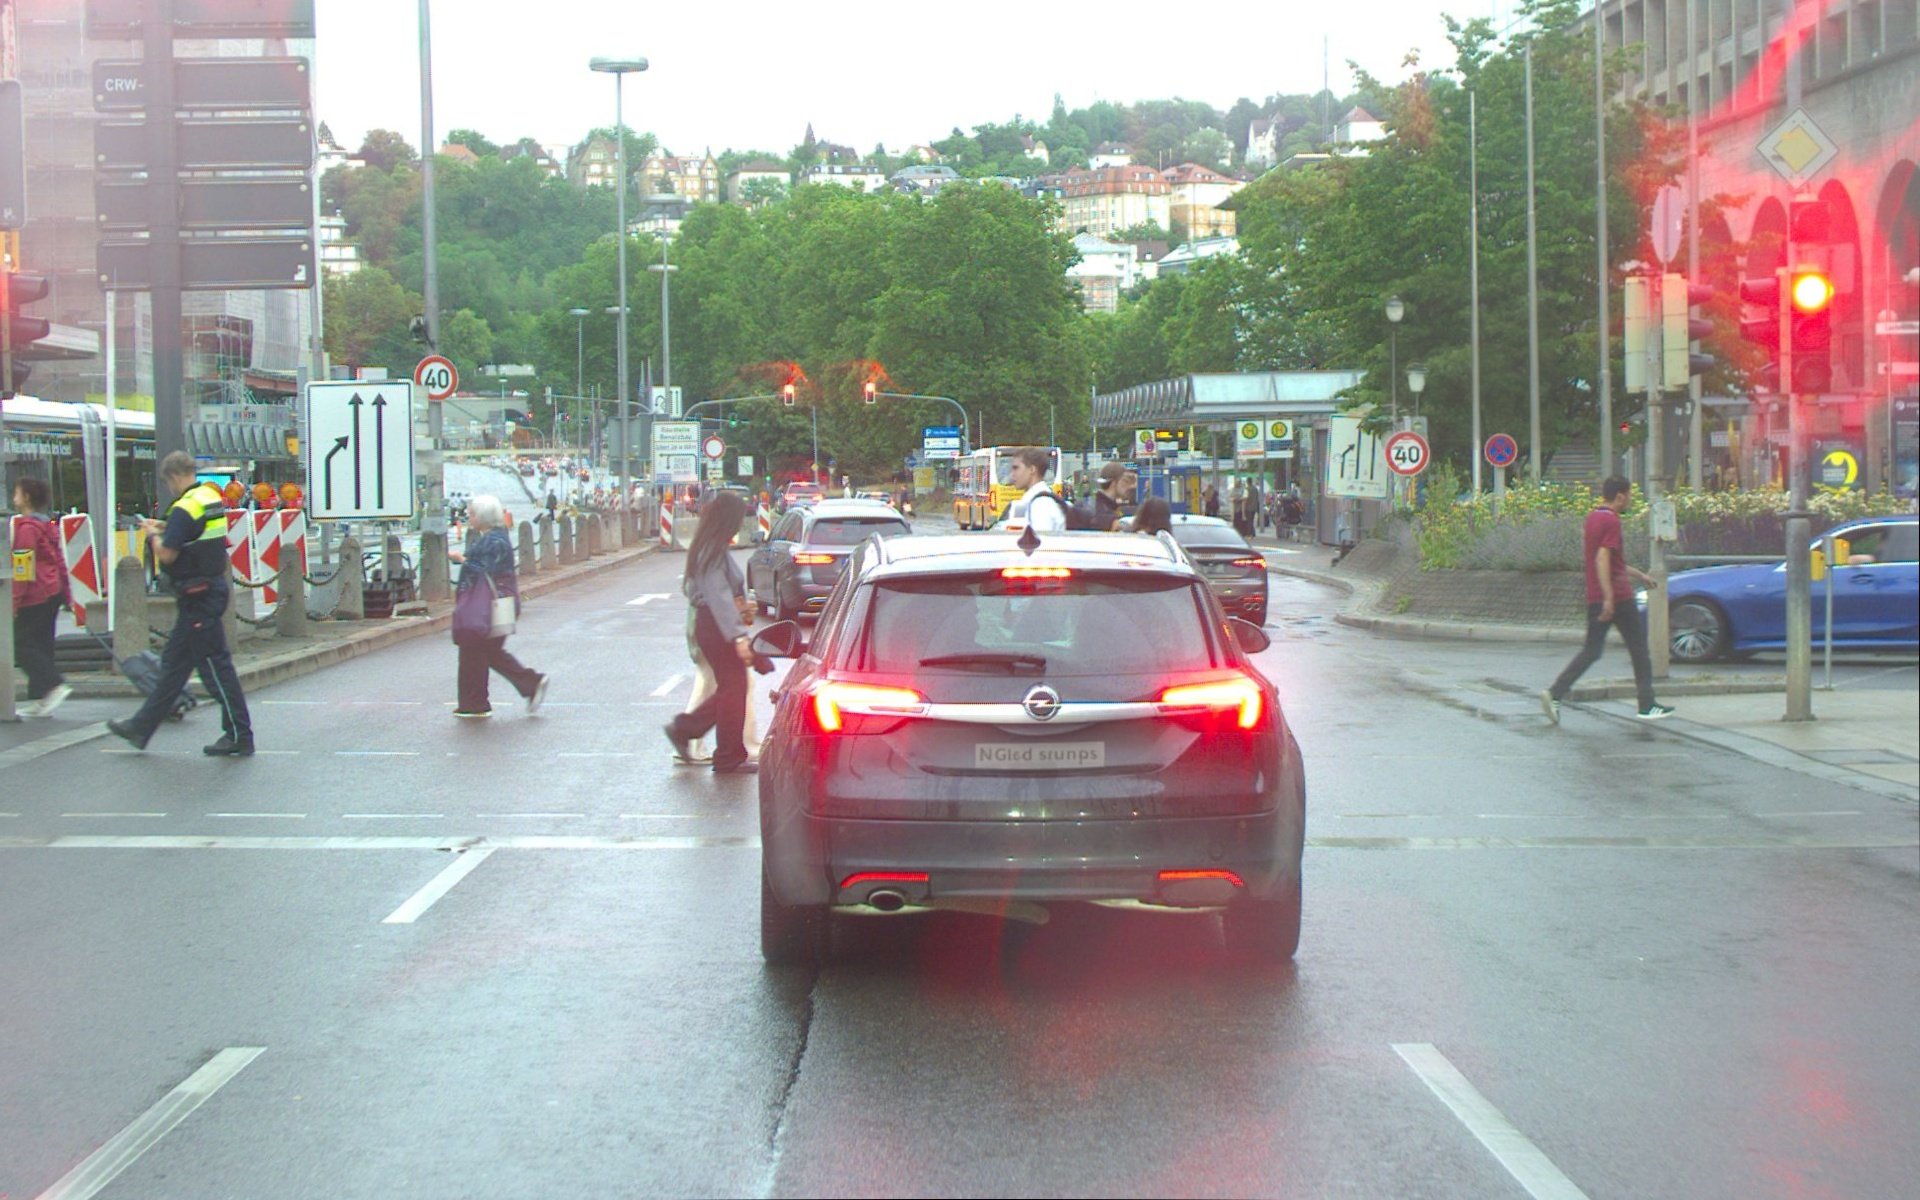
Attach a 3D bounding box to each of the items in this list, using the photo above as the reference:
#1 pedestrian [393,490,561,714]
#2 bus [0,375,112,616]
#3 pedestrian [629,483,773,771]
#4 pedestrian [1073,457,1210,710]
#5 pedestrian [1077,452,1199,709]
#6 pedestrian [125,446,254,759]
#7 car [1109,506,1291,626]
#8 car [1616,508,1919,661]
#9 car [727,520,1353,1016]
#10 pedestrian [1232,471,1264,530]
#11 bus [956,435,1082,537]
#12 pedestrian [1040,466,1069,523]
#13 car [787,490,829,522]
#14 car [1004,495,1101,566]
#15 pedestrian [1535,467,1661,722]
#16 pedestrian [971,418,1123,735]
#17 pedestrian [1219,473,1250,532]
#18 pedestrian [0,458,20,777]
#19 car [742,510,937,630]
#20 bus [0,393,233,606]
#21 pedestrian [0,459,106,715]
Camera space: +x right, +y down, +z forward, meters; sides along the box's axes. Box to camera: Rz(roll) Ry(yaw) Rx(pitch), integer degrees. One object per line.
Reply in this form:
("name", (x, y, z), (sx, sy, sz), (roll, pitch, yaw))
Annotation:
("pedestrian", (-3.432, 0.003, 24.423), (0.786, 1.555, 0.873), (1, 1, 42))
("bus", (-15.667, -1.606, 53.111), (2.668, 3.589, 10.240), (1, 1, 0))
("pedestrian", (-1.488, 0.144, 19.838), (0.793, 1.620, 0.900), (1, 1, -4))
("pedestrian", (1.164, -0.110, 22.184), (0.799, 1.603, 0.620), (1, 1, -4))
("pedestrian", (1.198, -0.136, 23.249), (0.755, 1.711, 0.466), (1, 1, -4))
("pedestrian", (-4.605, 0.008, 20.579), (0.578, 1.829, 0.820), (1, 1, 0))
("car", (2.915, -0.443, 42.606), (1.753, 1.393, 4.402), (1, 1, -2))
("car", (8.738, -0.154, 32.606), (4.640, 1.393, 1.756), (1, 1, 25))
("car", (0.209, 0.471, 12.378), (1.874, 1.481, 4.000), (1, 1, -1))
("pedestrian", (8.297, -2.872, 99.026), (0.763, 1.684, 0.825), (1, 1, -5))
("bus", (2.019, -4.046, 125.579), (4.173, 3.457, 14.655), (1, 1, 0))
("pedestrian", (4.132, -4.614, 150.524), (1.199, 2.427, 1.228), (1, 1, 1))
("car", (-6.836, -4.240, 154.657), (1.759, 1.393, 3.564), (1, 1, 0))
("car", (1.855, -1.414, 69.886), (1.845, 1.393, 3.564), (1, 1, 0))
("pedestrian", (4.452, -0.042, 23.985), (0.570, 1.746, 0.679), (1, 1, 42))
("pedestrian", (0.522, -0.143, 20.865), (0.798, 1.884, 0.620), (1, 1, -9))
("pedestrian", (7.984, -2.836, 100.155), (0.763, 1.684, 0.825), (1, 1, -5))
("pedestrian", (-5.815, 0.113, 18.835), (1.096, 1.745, 0.654), (-2, 1, -3))
("car", (-1.556, -0.401, 42.729), (1.752, 1.393, 4.539), (0, 1, -10))
("bus", (-15.769, -1.802, 63.295), (2.668, 3.589, 10.212), (1, 1, 0))
("pedestrian", (-6.326, -0.091, 23.472), (0.799, 1.711, 0.620), (-2, 1, -4))
